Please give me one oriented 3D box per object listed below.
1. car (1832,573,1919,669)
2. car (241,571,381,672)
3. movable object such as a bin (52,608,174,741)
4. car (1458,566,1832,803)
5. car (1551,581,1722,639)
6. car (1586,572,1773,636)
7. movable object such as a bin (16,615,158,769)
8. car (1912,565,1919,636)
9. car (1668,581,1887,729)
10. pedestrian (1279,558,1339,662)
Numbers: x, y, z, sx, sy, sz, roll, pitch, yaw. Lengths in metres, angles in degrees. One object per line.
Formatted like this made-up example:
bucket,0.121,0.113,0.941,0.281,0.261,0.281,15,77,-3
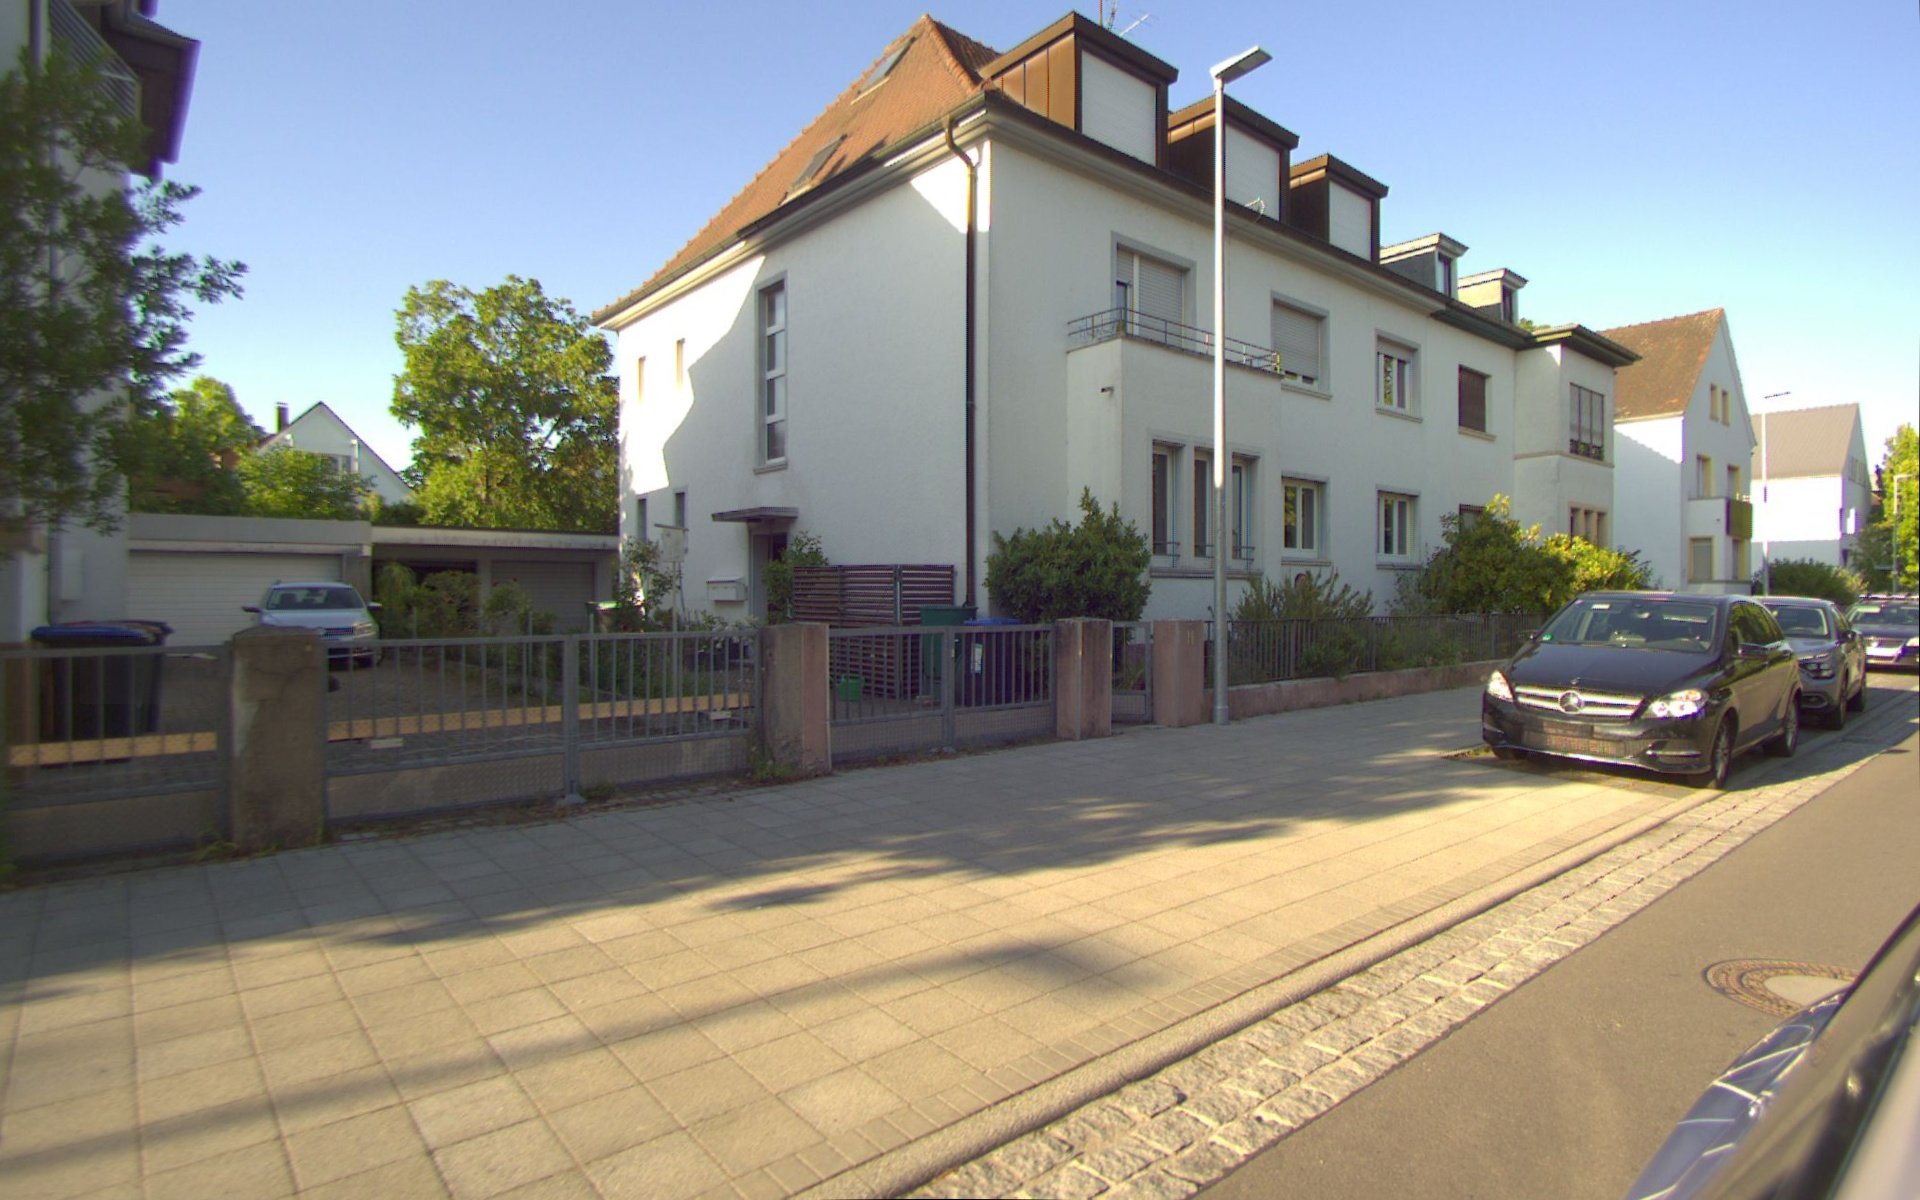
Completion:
car,19.550,0.377,20.810,4.394,1.793,1.797,0,2,-41
car,-11.319,0.288,17.569,1.838,1.527,4.160,-1,1,-35
movable object such as a bin,-7.726,0.641,9.274,0.775,1.114,1.087,-1,-1,-36
car,6.661,0.574,9.652,4.338,1.705,1.837,-1,4,-41
car,21.488,0.322,32.270,1.822,1.748,4.220,-1,0,-43
car,20.985,0.059,29.641,1.822,1.747,4.221,-1,1,-43
movable object such as a bin,-6.952,0.692,8.111,0.775,1.114,0.987,-1,-1,-36
car,31.480,0.043,31.626,4.728,2.158,1.910,0,2,-40
car,10.833,0.573,13.303,4.141,1.593,1.720,-1,3,-44
pedestrian,5.483,0.151,15.929,0.617,1.598,0.598,-1,-1,-14
